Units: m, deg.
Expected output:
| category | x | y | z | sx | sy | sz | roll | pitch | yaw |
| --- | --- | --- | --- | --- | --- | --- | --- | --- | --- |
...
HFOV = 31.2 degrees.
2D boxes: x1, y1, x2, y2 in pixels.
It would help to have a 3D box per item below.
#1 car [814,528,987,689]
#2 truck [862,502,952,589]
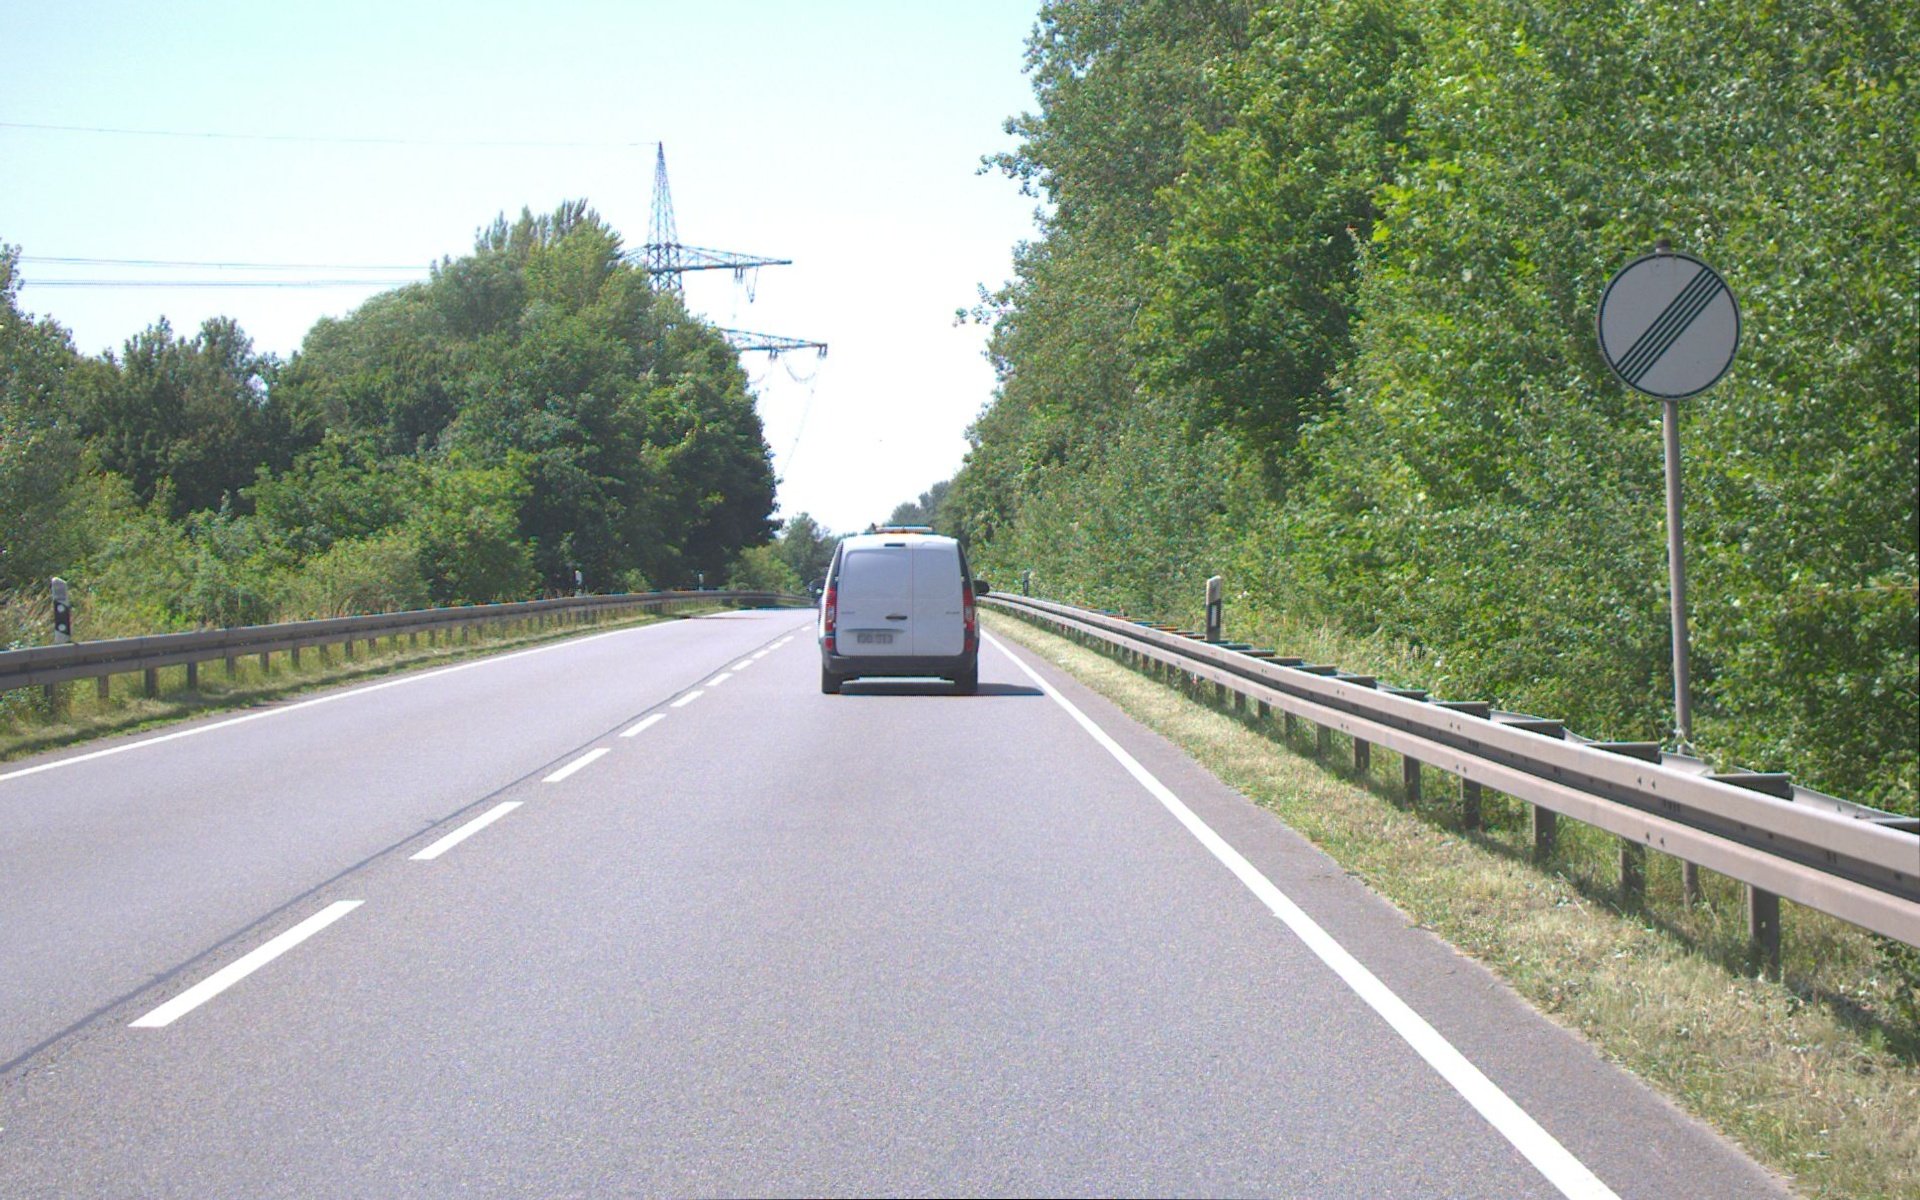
| category | x | y | z | sx | sy | sz | roll | pitch | yaw |
| --- | --- | --- | --- | --- | --- | --- | --- | --- | --- |
| car | -0.693 | 0.067 | 39.484 | 1.875 | 1.735 | 4.000 | 0 | 1 | -1 |
| truck | -2.014 | -2.175 | 136.943 | 3.296 | 3.161 | 14.405 | 2 | 1 | 0 |
